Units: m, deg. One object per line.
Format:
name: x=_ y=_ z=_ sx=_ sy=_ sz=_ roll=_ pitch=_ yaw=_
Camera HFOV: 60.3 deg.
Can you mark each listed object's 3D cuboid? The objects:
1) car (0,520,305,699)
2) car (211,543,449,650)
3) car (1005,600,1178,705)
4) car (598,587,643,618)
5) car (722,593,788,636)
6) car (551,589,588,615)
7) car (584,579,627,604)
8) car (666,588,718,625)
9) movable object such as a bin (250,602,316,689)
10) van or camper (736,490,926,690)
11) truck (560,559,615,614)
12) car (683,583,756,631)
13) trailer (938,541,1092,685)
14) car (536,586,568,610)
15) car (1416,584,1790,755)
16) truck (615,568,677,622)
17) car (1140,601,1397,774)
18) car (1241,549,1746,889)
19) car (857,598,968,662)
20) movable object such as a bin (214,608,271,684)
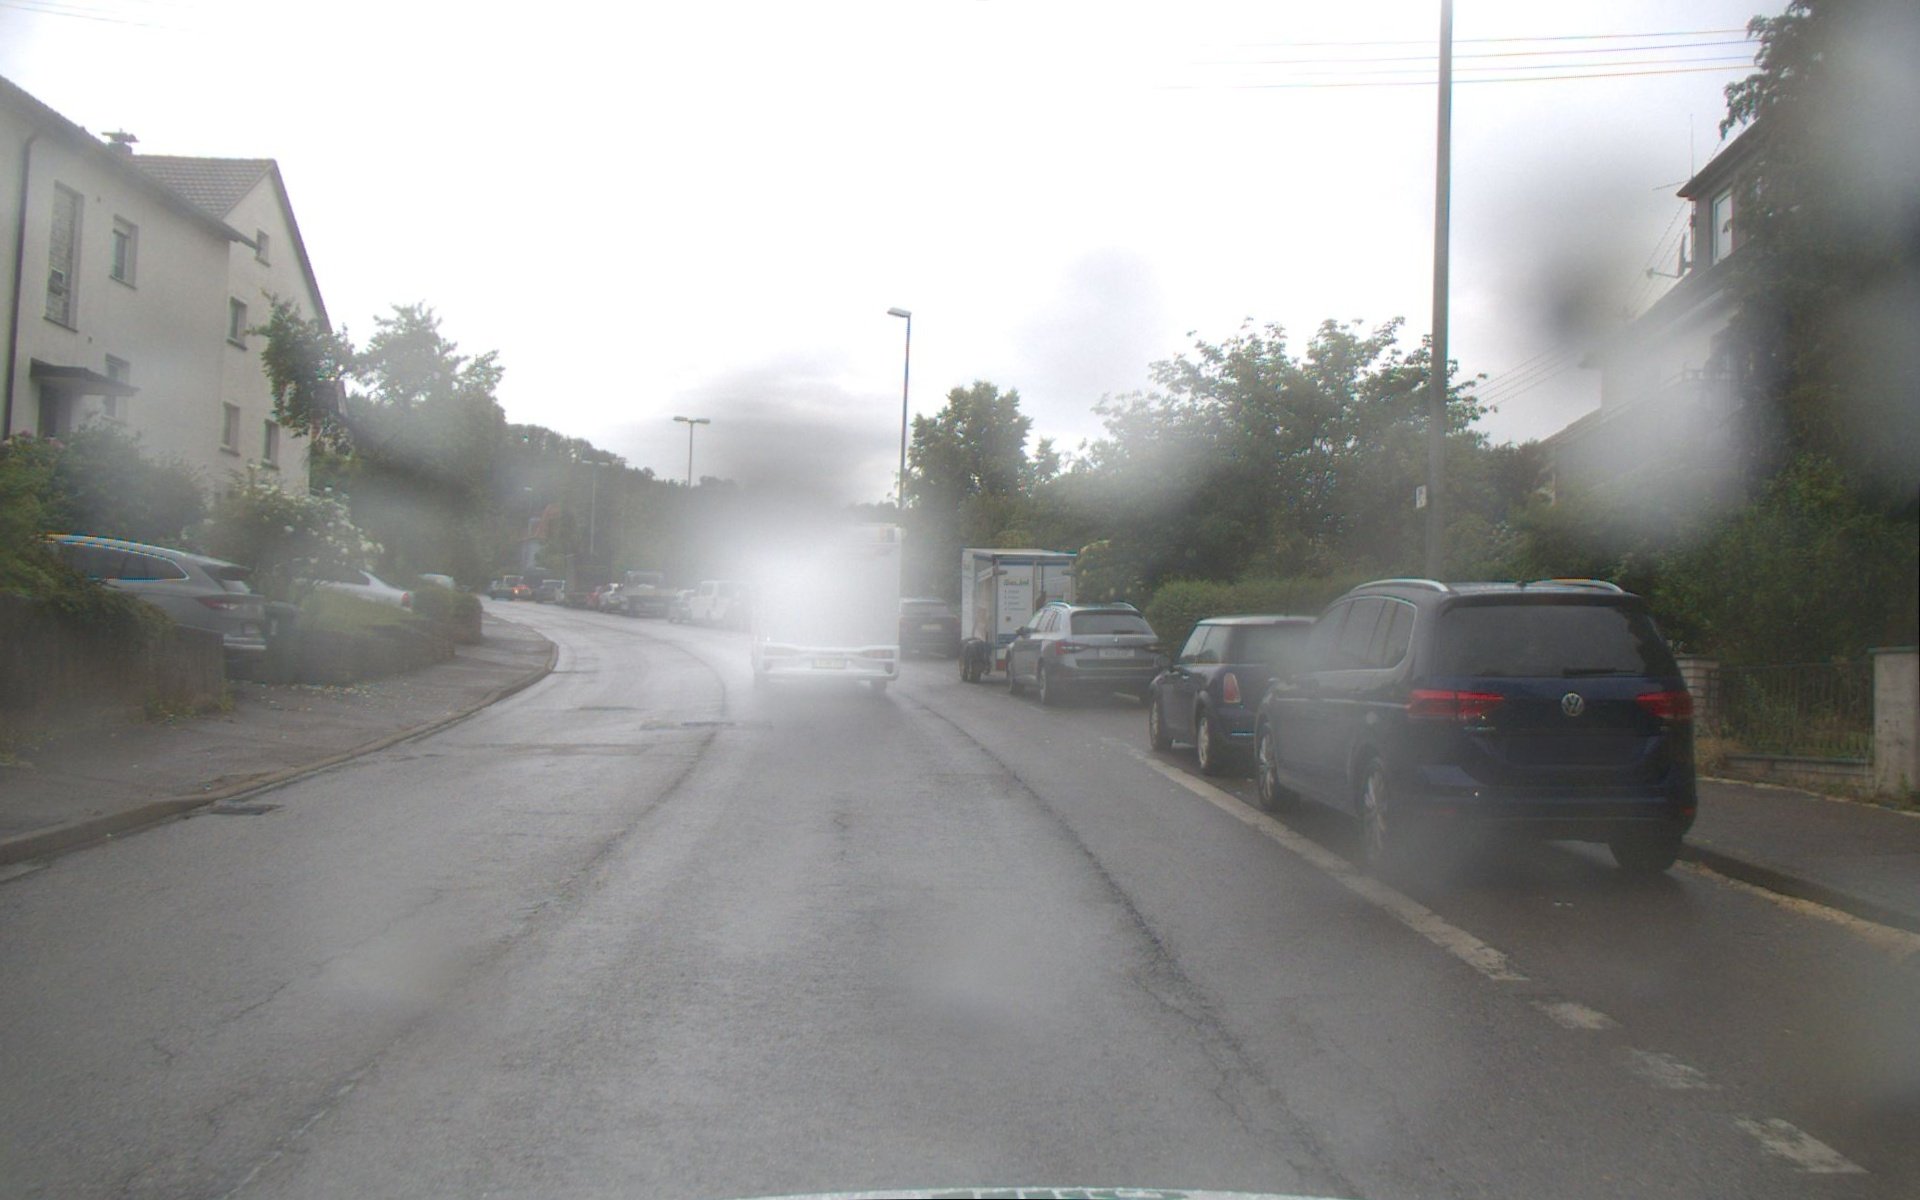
car: x=-10.548 y=0.026 z=19.891 sx=4.426 sy=1.641 sz=1.930 roll=8 pitch=-1 yaw=-6
car: x=-13.320 y=-0.056 z=35.144 sx=4.171 sy=1.455 sz=1.766 roll=11 pitch=-1 yaw=0
car: x=1.931 y=0.755 z=25.764 sx=1.714 sy=1.449 sz=4.695 roll=1 pitch=0 yaw=-8
car: x=-19.060 y=0.141 z=92.792 sx=1.734 sy=1.632 sz=4.637 roll=1 pitch=0 yaw=-21
car: x=-7.922 y=0.531 z=63.654 sx=1.620 sy=1.567 sz=4.329 roll=1 pitch=0 yaw=-19
car: x=-27.182 y=0.127 z=114.967 sx=1.819 sy=1.713 sz=5.604 roll=1 pitch=0 yaw=-20
car: x=-21.510 y=-0.517 z=100.217 sx=1.806 sy=1.463 sz=4.955 roll=1 pitch=0 yaw=-21
car: x=-12.019 y=0.273 z=74.057 sx=1.623 sy=1.590 sz=3.941 roll=1 pitch=0 yaw=-19
movable object such as a bin: x=-9.189 y=0.605 z=22.473 sx=0.527 sy=1.094 sz=0.742 roll=8 pitch=-1 yaw=-8
van or camper: x=-2.350 y=-0.053 z=28.146 sx=2.568 sy=2.903 sz=6.016 roll=3 pitch=-2 yaw=-9
truck: x=-24.195 y=-0.865 z=107.101 sx=2.401 sy=3.394 sz=7.917 roll=1 pitch=0 yaw=-20
car: x=-10.075 y=0.284 z=69.006 sx=1.823 sy=1.915 sz=4.876 roll=1 pitch=0 yaw=-23
trailer: x=0.945 y=0.243 z=31.980 sx=1.913 sy=2.499 sz=5.422 roll=1 pitch=0 yaw=-10
car: x=-30.141 y=-0.194 z=121.993 sx=1.907 sy=1.701 sz=4.669 roll=1 pitch=0 yaw=-19
car: x=8.040 y=0.845 z=20.908 sx=3.924 sy=1.717 sz=1.777 roll=5 pitch=0 yaw=-2
truck: x=-16.402 y=-0.238 z=86.227 sx=2.205 sy=2.677 sz=6.501 roll=1 pitch=0 yaw=-19
car: x=2.898 y=0.774 z=16.267 sx=1.601 sy=1.482 sz=3.698 roll=1 pitch=0 yaw=-4
car: x=3.154 y=0.630 z=10.824 sx=1.792 sy=1.730 sz=4.460 roll=1 pitch=0 yaw=-1
car: x=-1.279 y=0.723 z=42.136 sx=1.763 sy=1.485 sz=4.770 roll=1 pitch=0 yaw=-15
movable object such as a bin: x=-9.696 y=0.612 z=22.366 sx=0.459 sy=0.970 sz=0.494 roll=6 pitch=-1 yaw=-4
